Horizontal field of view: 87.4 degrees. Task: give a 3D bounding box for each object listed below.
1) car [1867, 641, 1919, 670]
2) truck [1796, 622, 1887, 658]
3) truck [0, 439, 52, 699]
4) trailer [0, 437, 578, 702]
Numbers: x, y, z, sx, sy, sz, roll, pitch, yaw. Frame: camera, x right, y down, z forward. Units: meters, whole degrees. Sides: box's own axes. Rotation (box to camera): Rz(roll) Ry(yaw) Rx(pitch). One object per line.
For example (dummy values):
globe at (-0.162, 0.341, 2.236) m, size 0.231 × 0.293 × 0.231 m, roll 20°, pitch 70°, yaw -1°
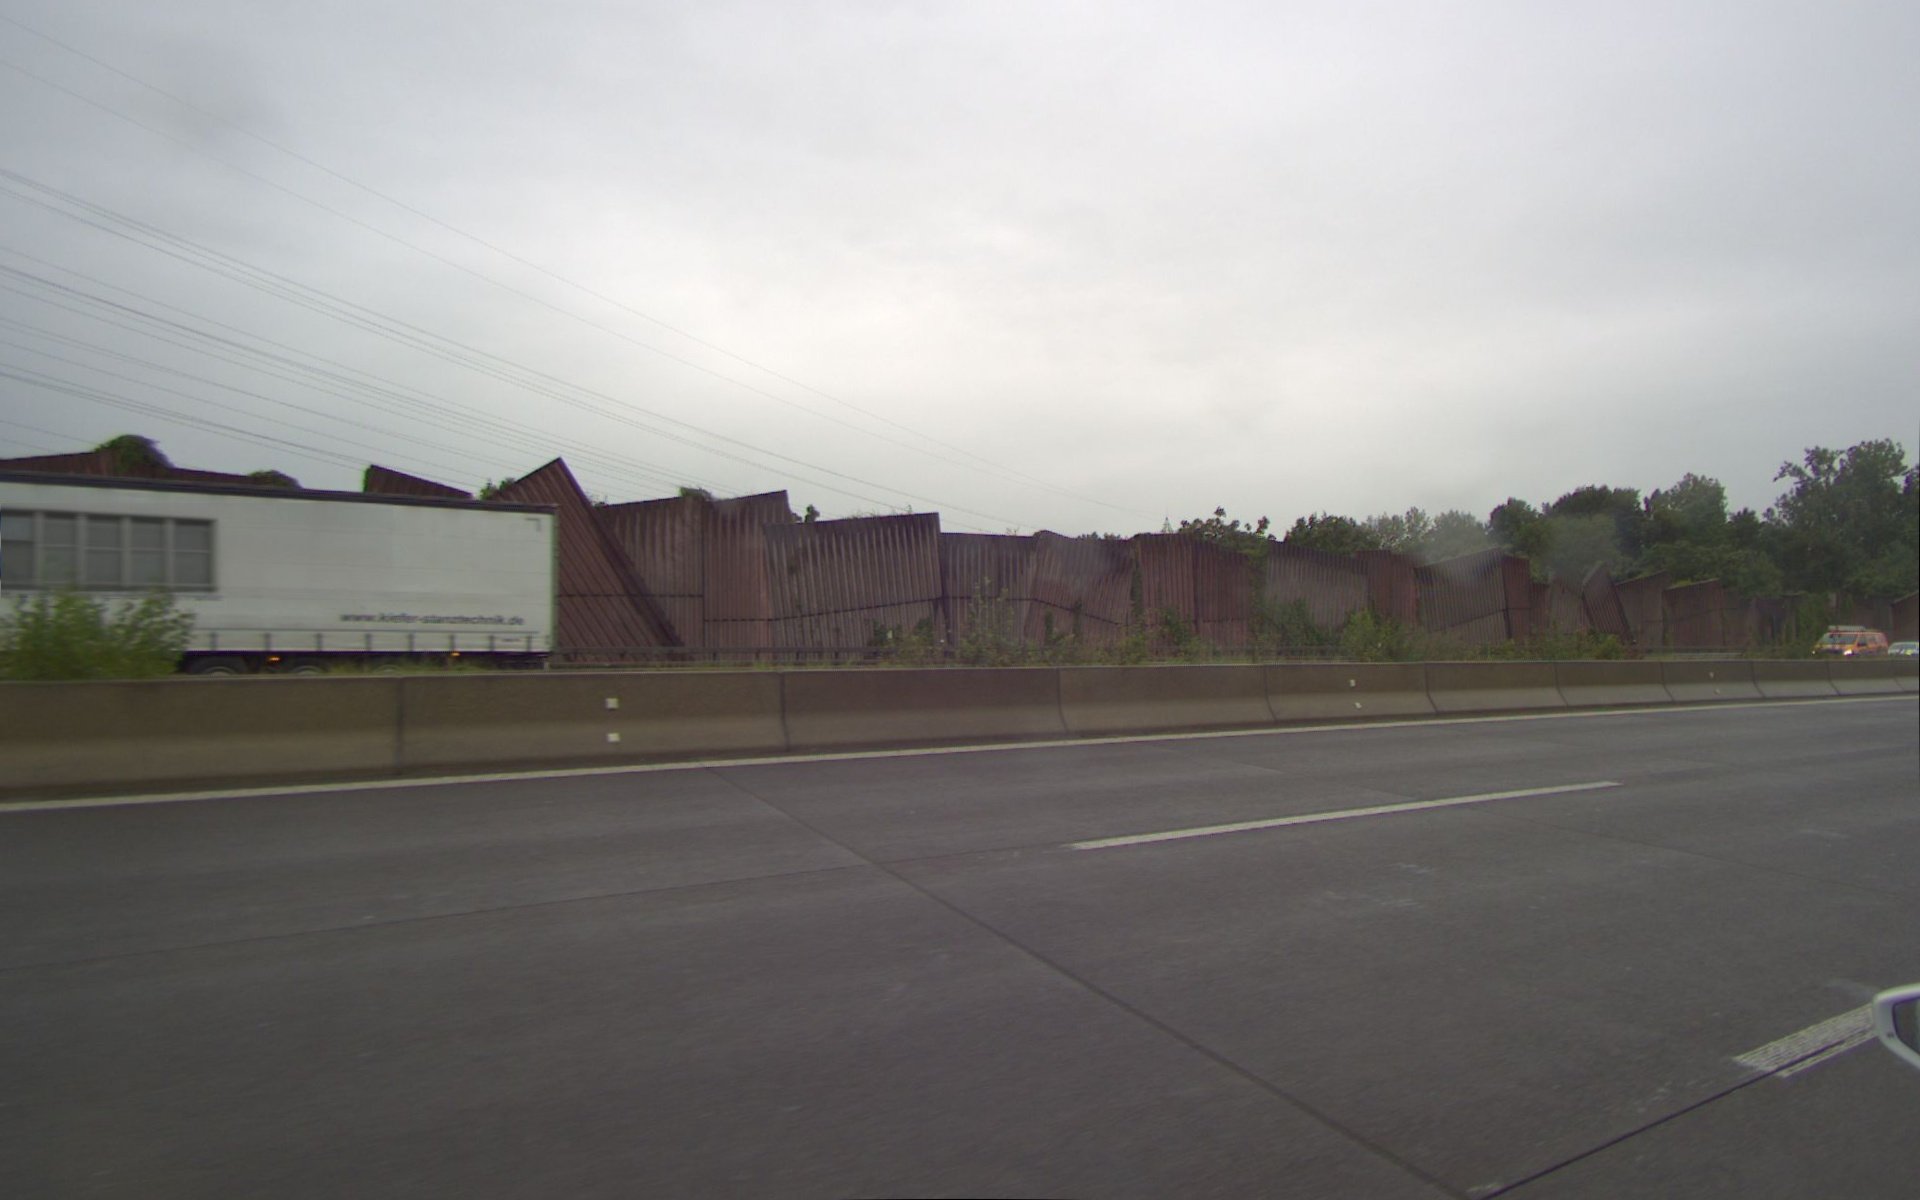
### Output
car at (61.417, 3.616, 65.533) m, size 4.343 × 1.762 × 1.985 m, roll 2°, pitch -1°, yaw -29°
truck at (45.861, 2.081, 52.221) m, size 4.954 × 1.762 × 1.985 m, roll 2°, pitch -1°, yaw -29°
truck at (-19.576, -0.597, 15.415) m, size 7.793 × 4.242 × 3.042 m, roll 1°, pitch 0°, yaw -30°
trailer at (-14.353, -0.468, 18.394) m, size 13.408 × 4.242 × 3.042 m, roll 1°, pitch 0°, yaw -30°
